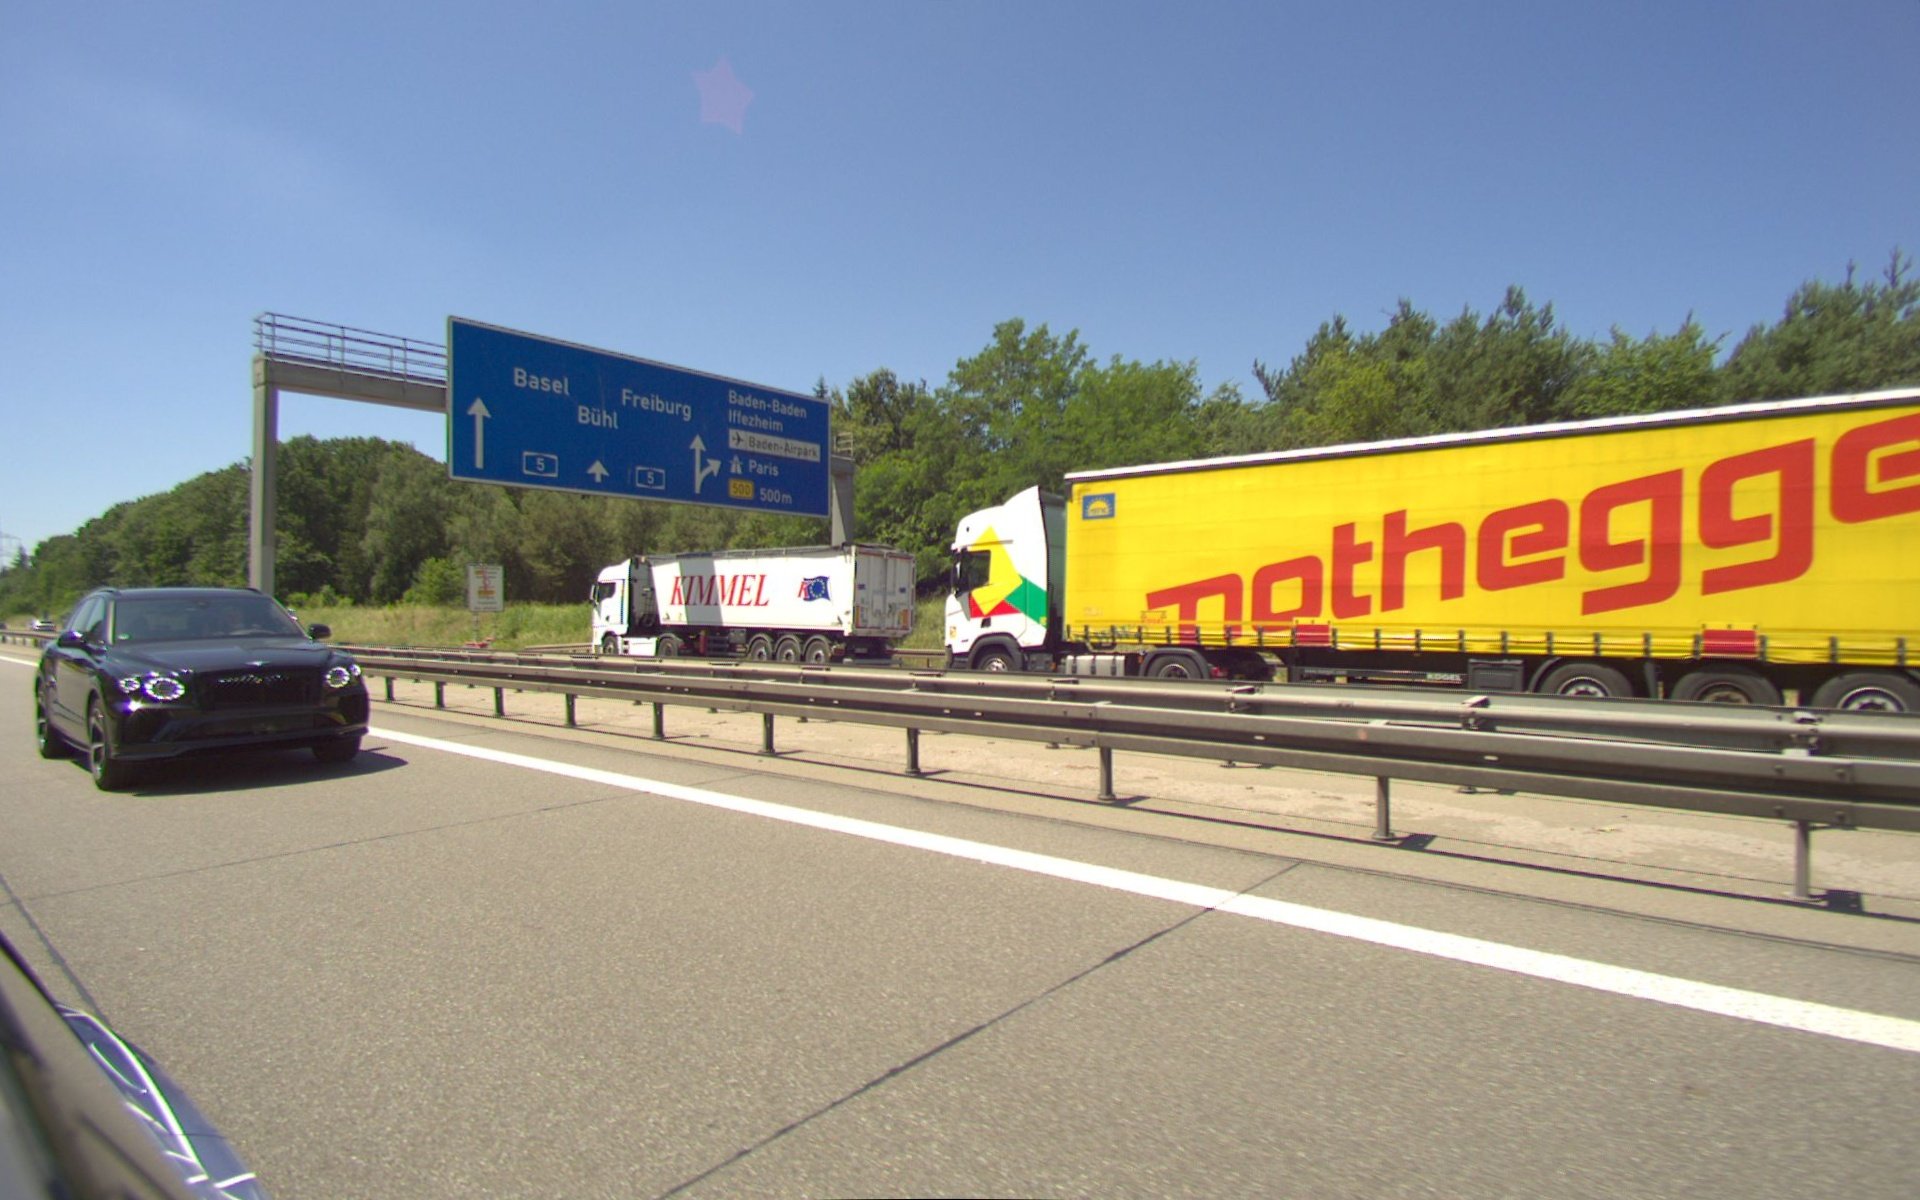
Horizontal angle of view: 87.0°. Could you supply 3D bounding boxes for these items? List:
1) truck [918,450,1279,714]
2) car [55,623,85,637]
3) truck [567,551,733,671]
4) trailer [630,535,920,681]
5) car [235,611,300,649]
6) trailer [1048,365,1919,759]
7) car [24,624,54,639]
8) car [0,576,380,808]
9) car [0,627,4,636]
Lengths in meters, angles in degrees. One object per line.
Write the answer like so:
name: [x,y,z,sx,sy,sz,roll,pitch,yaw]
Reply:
truck: [2.373,-0.178,18.695,6.283,4.104,2.438,-1,-4,41]
car: [-99.841,3.384,113.551,4.900,1.528,1.776,-1,-4,40]
truck: [-11.293,0.481,36.590,6.479,3.979,2.598,-1,-4,41]
trailer: [-6.266,0.387,32.191,11.151,3.979,2.598,-1,-4,41]
car: [-45.443,1.991,66.383,5.805,2.358,1.967,-1,-4,40]
trailer: [7.736,-0.275,14.035,14.271,4.104,2.438,-1,-4,41]
car: [-94.909,3.265,104.312,4.557,1.510,1.629,-1,-4,40]
car: [-8.102,0.757,10.335,5.809,1.765,1.921,-2,-1,40]
car: [-155.645,5.119,163.106,4.594,1.420,1.654,-1,-4,40]
